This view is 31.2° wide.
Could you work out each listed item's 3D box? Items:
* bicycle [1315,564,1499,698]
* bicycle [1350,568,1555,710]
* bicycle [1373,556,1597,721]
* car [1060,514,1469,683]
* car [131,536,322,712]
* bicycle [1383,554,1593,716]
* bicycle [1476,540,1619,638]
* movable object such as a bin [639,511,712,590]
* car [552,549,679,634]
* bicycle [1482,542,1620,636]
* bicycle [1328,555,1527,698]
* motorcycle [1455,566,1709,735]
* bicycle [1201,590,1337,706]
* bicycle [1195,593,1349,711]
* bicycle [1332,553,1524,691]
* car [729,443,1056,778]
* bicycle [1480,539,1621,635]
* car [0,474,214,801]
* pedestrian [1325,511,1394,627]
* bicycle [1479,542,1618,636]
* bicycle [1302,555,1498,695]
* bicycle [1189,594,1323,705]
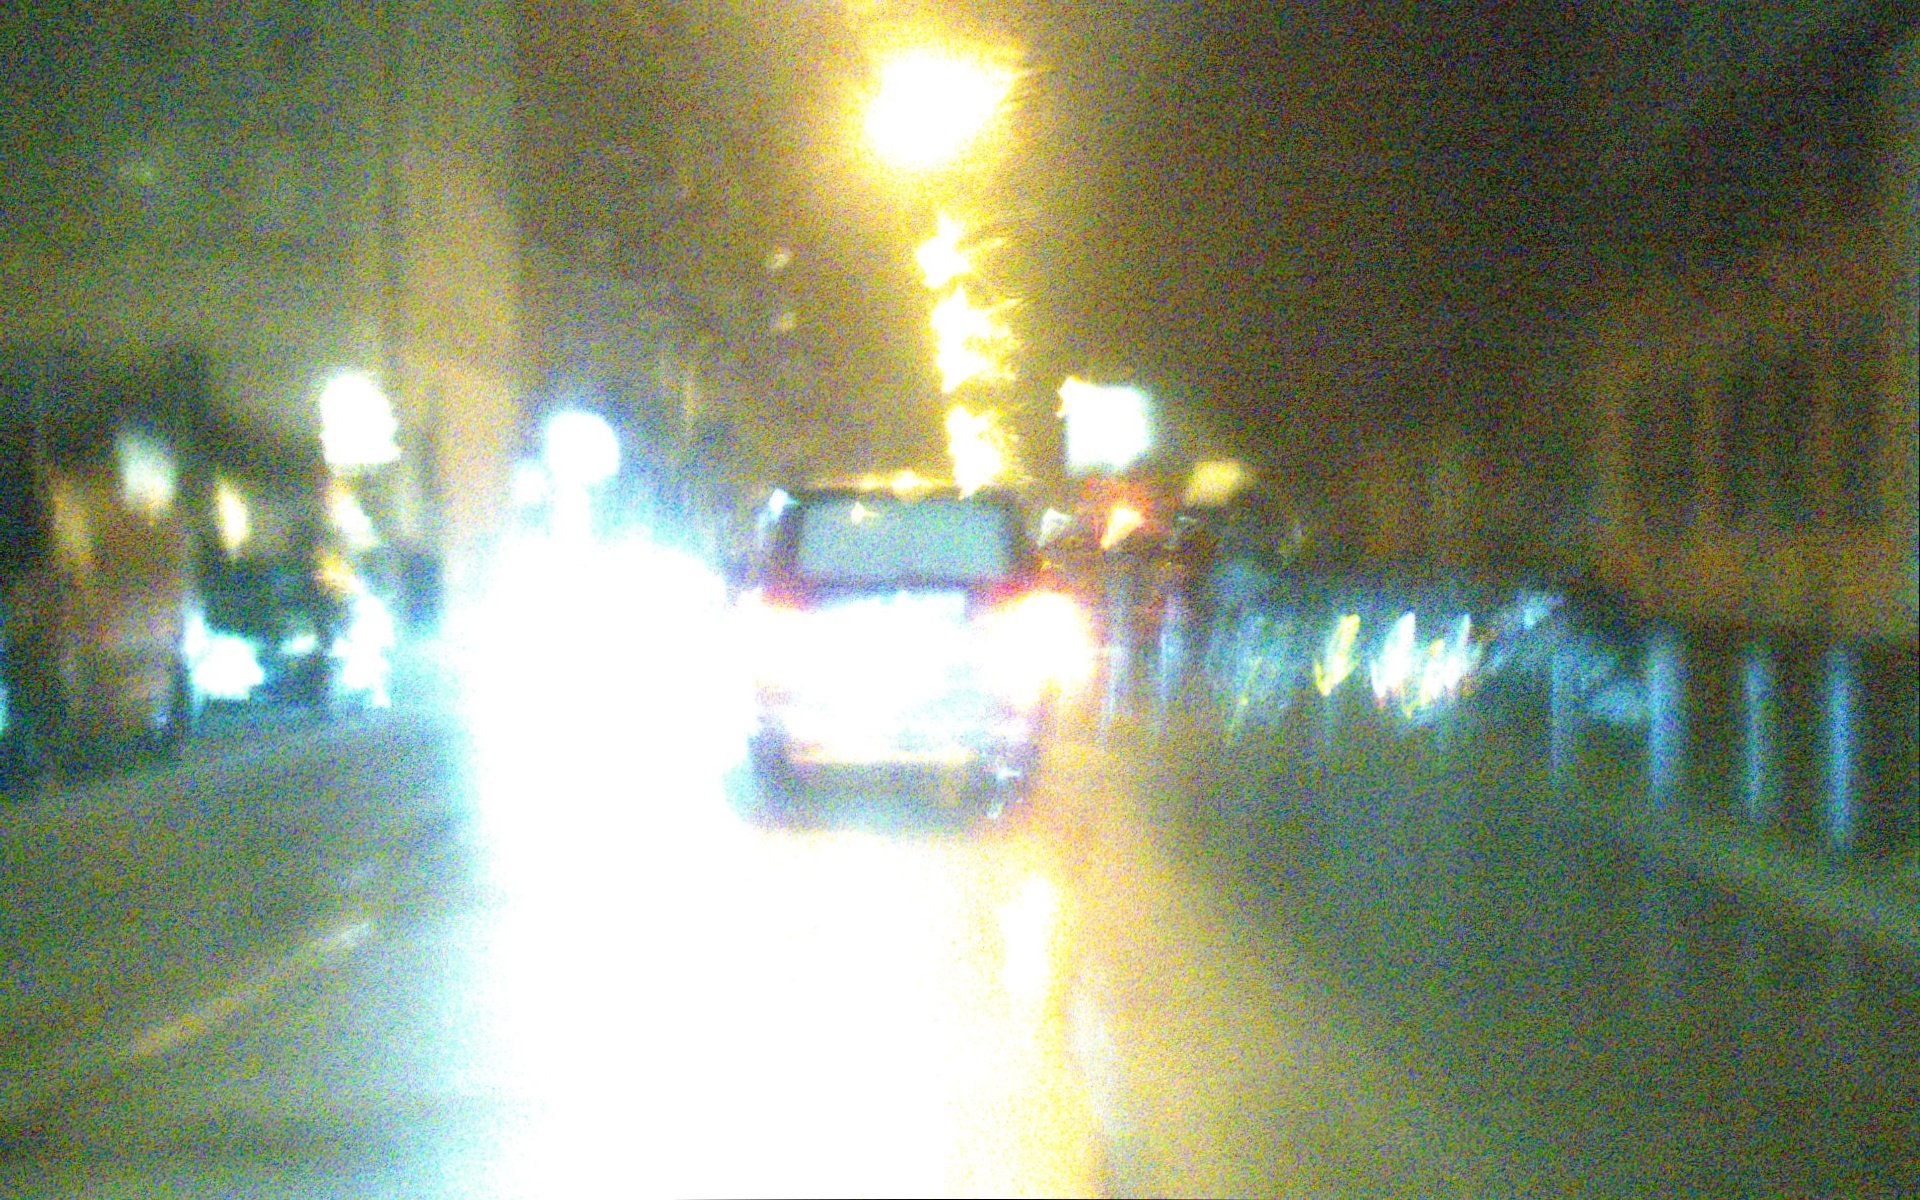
[{"bbox_3d":[4.005,0.277,30.825,1.596,1.154,0.539,-1,1,8],"label":"bicycle"},{"bbox_3d":[4.057,0.318,28.349,1.595,1.108,0.418,-2,1,-3],"label":"bicycle"},{"bbox_3d":[4.071,0.297,26.721,1.664,1.230,0.385,-1,1,3],"label":"bicycle"},{"bbox_3d":[3.052,-0.029,34.437,3.699,1.517,1.657,-2,1,-24],"label":"car"},{"bbox_3d":[-6.586,0.173,31.017,1.546,1.438,3.564,2,1,-11],"label":"car"},{"bbox_3d":[4.175,0.274,27.237,1.580,1.230,0.418,-1,1,3],"label":"bicycle"},{"bbox_3d":[7.463,-0.142,43.672,1.684,1.142,0.429,-3,1,-7],"label":"bicycle"},{"bbox_3d":[-5.394,-0.943,65.273,1.208,1.454,1.107,2,1,3],"label":"movable object such as a bin"},{"bbox_3d":[-5.686,-0.168,57.061,1.654,1.354,4.222,0,1,0],"label":"car"},{"bbox_3d":[7.711,-0.148,44.867,1.684,1.142,0.429,-3,1,-7],"label":"bicycle"},{"bbox_3d":[3.961,0.220,29.184,1.595,1.154,0.418,-2,1,-3],"label":"bicycle"},{"bbox_3d":[4.459,0.352,24.682,1.632,1.120,0.653,-3,1,-6],"label":"motorcycle"},{"bbox_3d":[2.713,0.421,30.208,1.132,0.971,0.249,-2,1,-2],"label":"bicycle"},{"bbox_3d":[2.535,0.424,27.969,1.210,0.944,0.302,0,1,-3],"label":"bicycle"},{"bbox_3d":[4.103,0.191,30.202,1.595,1.154,0.418,-2,1,-3],"label":"bicycle"},{"bbox_3d":[-0.395,0.060,23.167,1.993,2.043,4.000,1,0,1],"label":"car"},{"bbox_3d":[7.601,-0.166,44.293,1.684,1.142,0.429,-3,1,-7],"label":"bicycle"},{"bbox_3d":[-6.240,0.181,21.801,1.866,1.840,4.827,0,1,1],"label":"car"},{"bbox_3d":[6.591,-0.501,56.724,0.838,1.829,0.947,-5,0,-3],"label":"pedestrian"},{"bbox_3d":[7.771,-0.153,45.401,1.684,1.142,0.486,-3,1,-7],"label":"bicycle"},{"bbox_3d":[3.786,0.209,29.619,1.595,1.154,0.418,-2,1,-3],"label":"bicycle"},{"bbox_3d":[2.623,0.438,30.517,1.132,0.944,0.267,-2,1,-2],"label":"bicycle"}]
